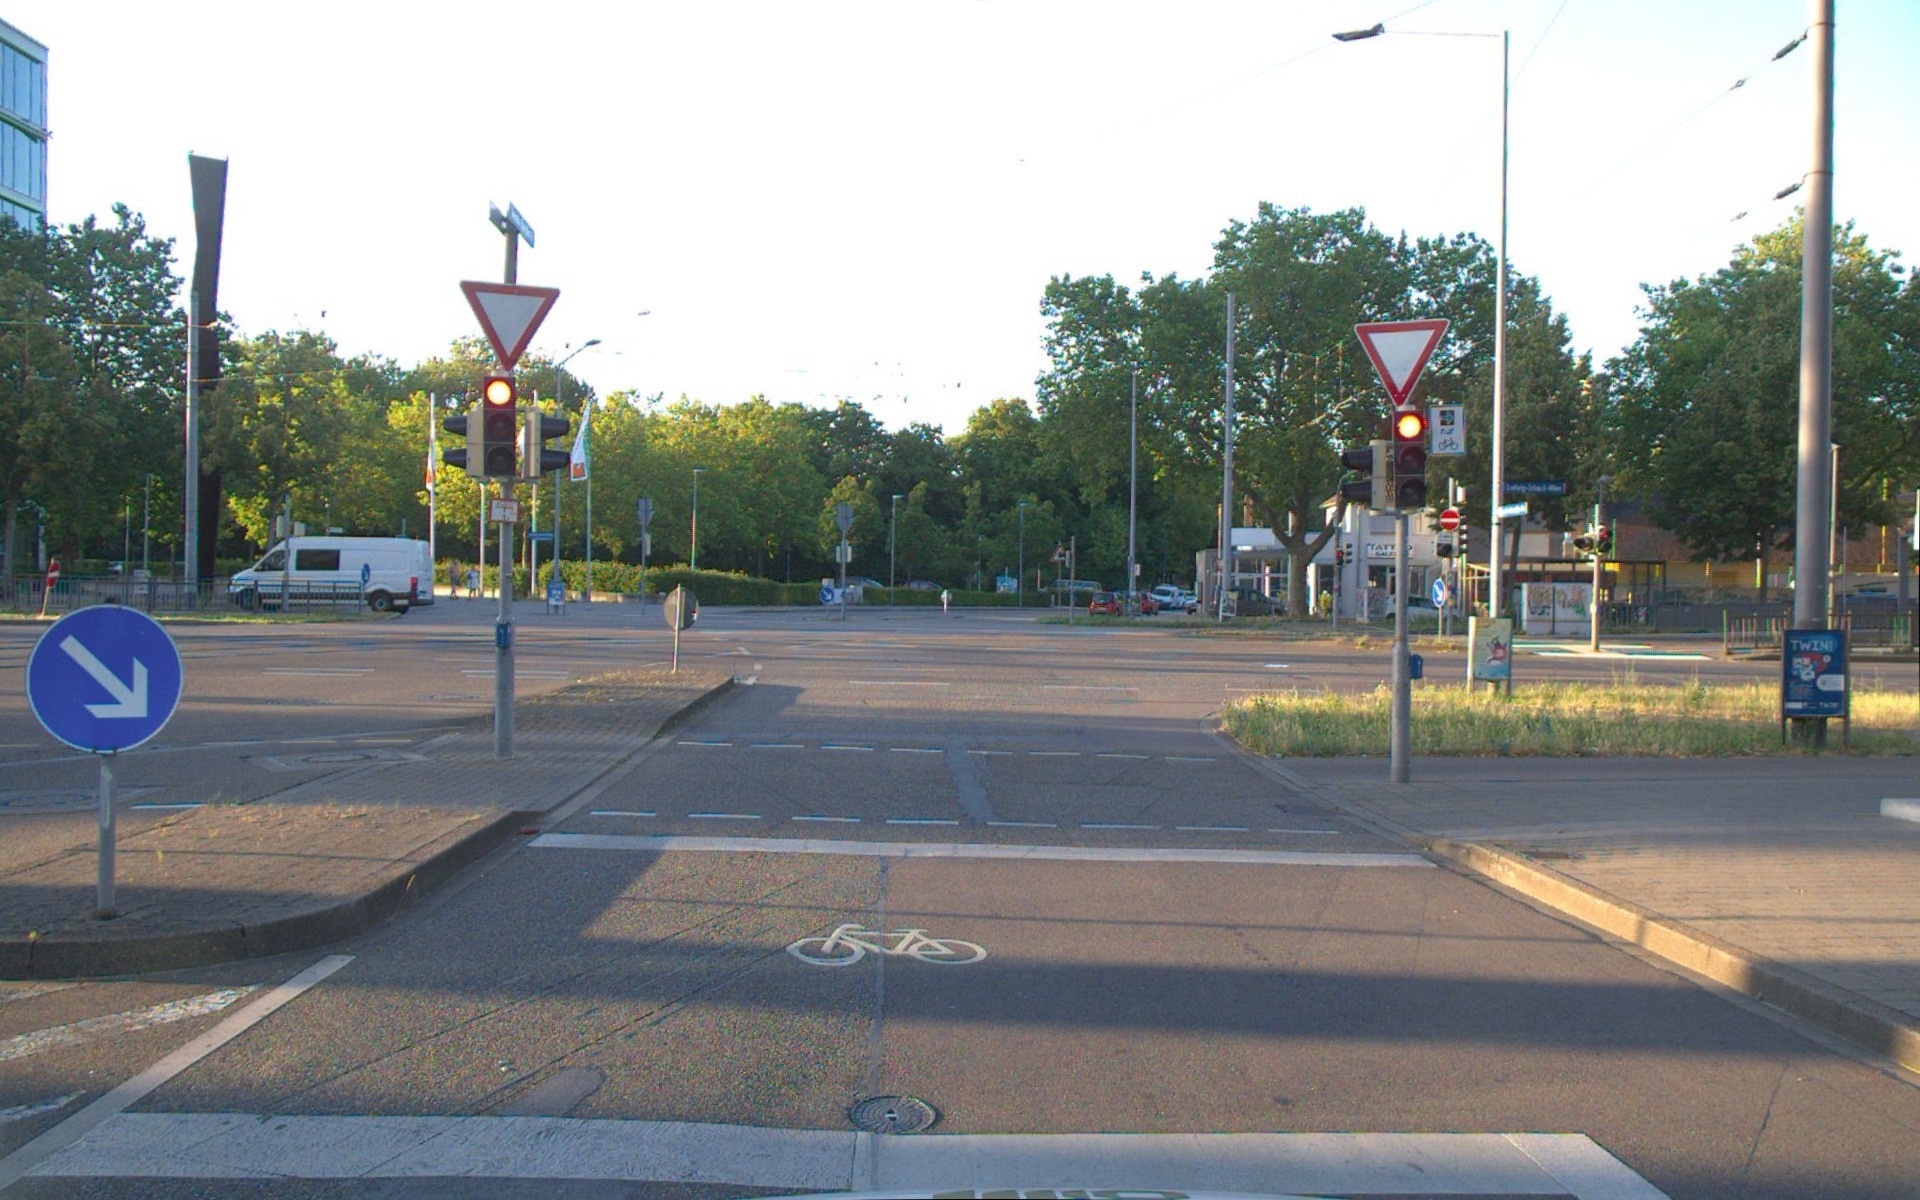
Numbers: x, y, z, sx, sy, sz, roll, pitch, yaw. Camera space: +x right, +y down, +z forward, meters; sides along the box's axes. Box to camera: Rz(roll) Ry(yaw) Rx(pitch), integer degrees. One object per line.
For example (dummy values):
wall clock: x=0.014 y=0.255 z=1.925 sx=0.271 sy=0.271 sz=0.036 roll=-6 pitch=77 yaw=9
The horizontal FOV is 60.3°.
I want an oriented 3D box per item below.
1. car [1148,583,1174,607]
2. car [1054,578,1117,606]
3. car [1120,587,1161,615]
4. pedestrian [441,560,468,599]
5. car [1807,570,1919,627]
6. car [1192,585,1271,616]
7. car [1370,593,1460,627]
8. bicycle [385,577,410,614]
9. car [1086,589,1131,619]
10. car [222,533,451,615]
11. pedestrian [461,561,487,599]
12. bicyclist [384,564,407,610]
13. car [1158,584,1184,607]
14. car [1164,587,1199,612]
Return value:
car: x=15.997 y=-0.351 z=131.430 sx=1.823 sy=1.825 sz=4.003 roll=1 pitch=-1 yaw=10
car: x=9.507 y=-0.578 z=126.020 sx=4.675 sy=2.041 sz=2.000 roll=1 pitch=-1 yaw=1
car: x=11.319 y=0.104 z=103.535 sx=1.951 sy=1.691 sz=4.003 roll=0 pitch=-1 yaw=14
pedestrian: x=-23.362 y=-0.961 z=76.412 sx=0.846 sy=1.774 sz=0.826 roll=1 pitch=0 yaw=38
car: x=43.620 y=-0.076 z=78.678 sx=5.476 sy=2.596 sz=2.231 roll=1 pitch=0 yaw=7
car: x=14.654 y=0.033 z=89.382 sx=4.129 sy=1.579 sz=2.001 roll=1 pitch=-1 yaw=7
car: x=19.906 y=0.444 z=72.478 sx=3.659 sy=1.465 sz=1.665 roll=1 pitch=-1 yaw=9
bicycle: x=-21.389 y=-0.191 z=62.843 sx=0.720 sy=1.364 sz=2.672 roll=1 pitch=1 yaw=-22
car: x=8.621 y=0.229 z=95.806 sx=1.951 sy=1.691 sz=4.003 roll=0 pitch=-1 yaw=14
car: x=-21.412 y=-0.866 z=57.060 sx=6.777 sy=2.682 sz=2.811 roll=1 pitch=-1 yaw=-1
pedestrian: x=-22.711 y=-0.946 z=77.303 sx=0.846 sy=1.774 sz=0.826 roll=1 pitch=0 yaw=38
bicyclist: x=-21.474 y=-0.506 z=62.941 sx=0.740 sy=1.739 sz=0.913 roll=1 pitch=0 yaw=-23
car: x=17.406 y=-0.340 z=136.346 sx=1.823 sy=1.825 sz=4.003 roll=0 pitch=-1 yaw=12
car: x=15.554 y=-0.053 z=115.828 sx=1.951 sy=1.691 sz=4.003 roll=0 pitch=-1 yaw=14
